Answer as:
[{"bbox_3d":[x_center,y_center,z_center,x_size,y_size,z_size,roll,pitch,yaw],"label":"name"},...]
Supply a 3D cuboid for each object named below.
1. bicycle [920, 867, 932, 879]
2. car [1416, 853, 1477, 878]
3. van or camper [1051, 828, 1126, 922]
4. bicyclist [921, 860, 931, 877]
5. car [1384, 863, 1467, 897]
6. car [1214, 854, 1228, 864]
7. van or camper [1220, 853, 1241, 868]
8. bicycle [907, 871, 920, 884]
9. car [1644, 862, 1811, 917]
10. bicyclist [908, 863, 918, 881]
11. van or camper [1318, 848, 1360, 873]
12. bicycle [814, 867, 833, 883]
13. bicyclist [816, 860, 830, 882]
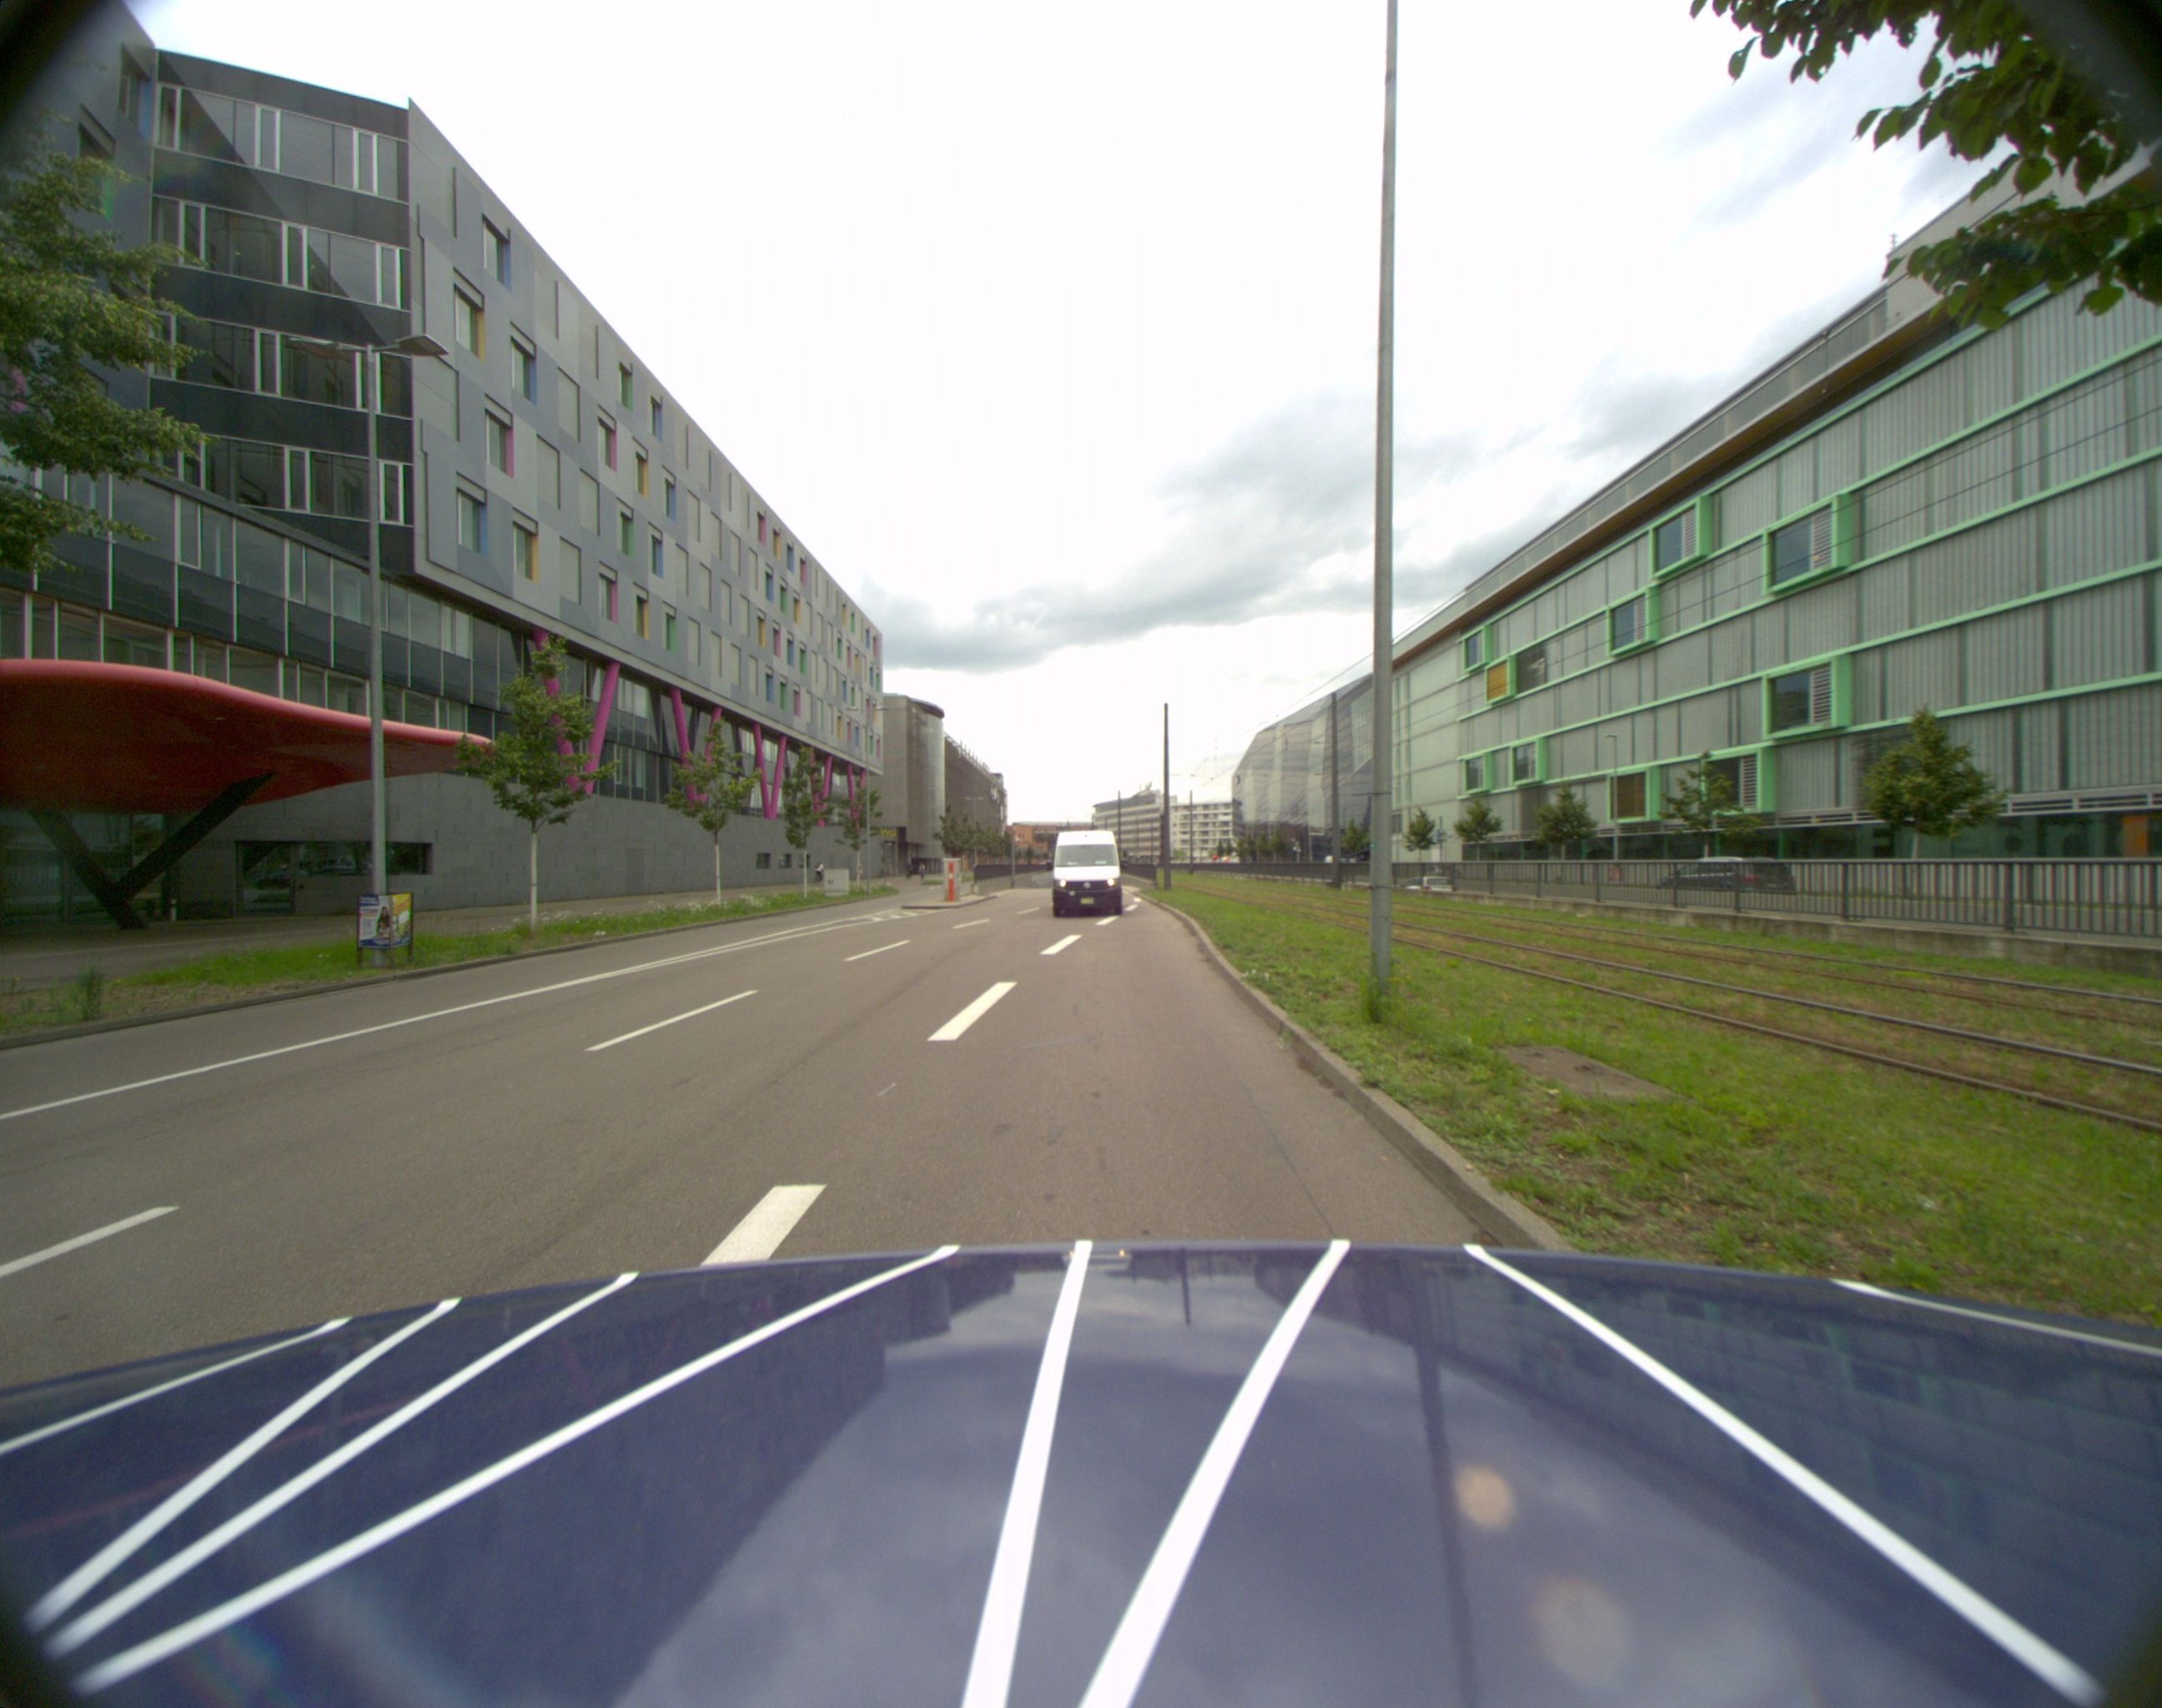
[{"bbox_3d":[-15.819,1.936,77.554,0.801,1.151,2.345,-1,-1,0],"label":"bicycle"},{"bbox_3d":[24.727,0.757,51.650,1.998,1.656,4.647,0,0,1],"label":"car"},{"bbox_3d":[0.210,0.588,23.614,2.043,2.572,5.041,-1,0,0],"label":"van or camper"},{"bbox_3d":[-15.829,1.477,77.529,0.784,1.791,0.705,-1,-1,0],"label":"bicyclist"},{"bbox_3d":[16.213,1.188,36.036,1.767,1.470,4.572,0,0,-1],"label":"car"},{"bbox_3d":[26.278,0.945,142.604,1.998,1.583,4.769,-1,-2,3],"label":"car"},{"bbox_3d":[23.760,1.025,121.198,2.178,2.273,6.507,-2,-1,1],"label":"van or camper"},{"bbox_3d":[-17.588,2.472,79.649,0.801,1.150,2.347,-1,-4,0],"label":"bicycle"},{"bbox_3d":[23.617,1.212,28.078,1.998,1.813,4.968,-1,0,1],"label":"car"},{"bbox_3d":[-17.607,1.859,79.647,0.784,1.790,0.705,-1,-4,0],"label":"bicyclist"},{"bbox_3d":[24.440,0.596,72.152,2.178,2.273,5.359,-1,0,1],"label":"van or camper"},{"bbox_3d":[-20.201,1.649,59.584,0.785,1.187,2.220,0,-1,-2],"label":"bicycle"},{"bbox_3d":[-20.213,1.332,59.625,0.772,1.776,0.974,0,0,-3],"label":"bicyclist"}]
